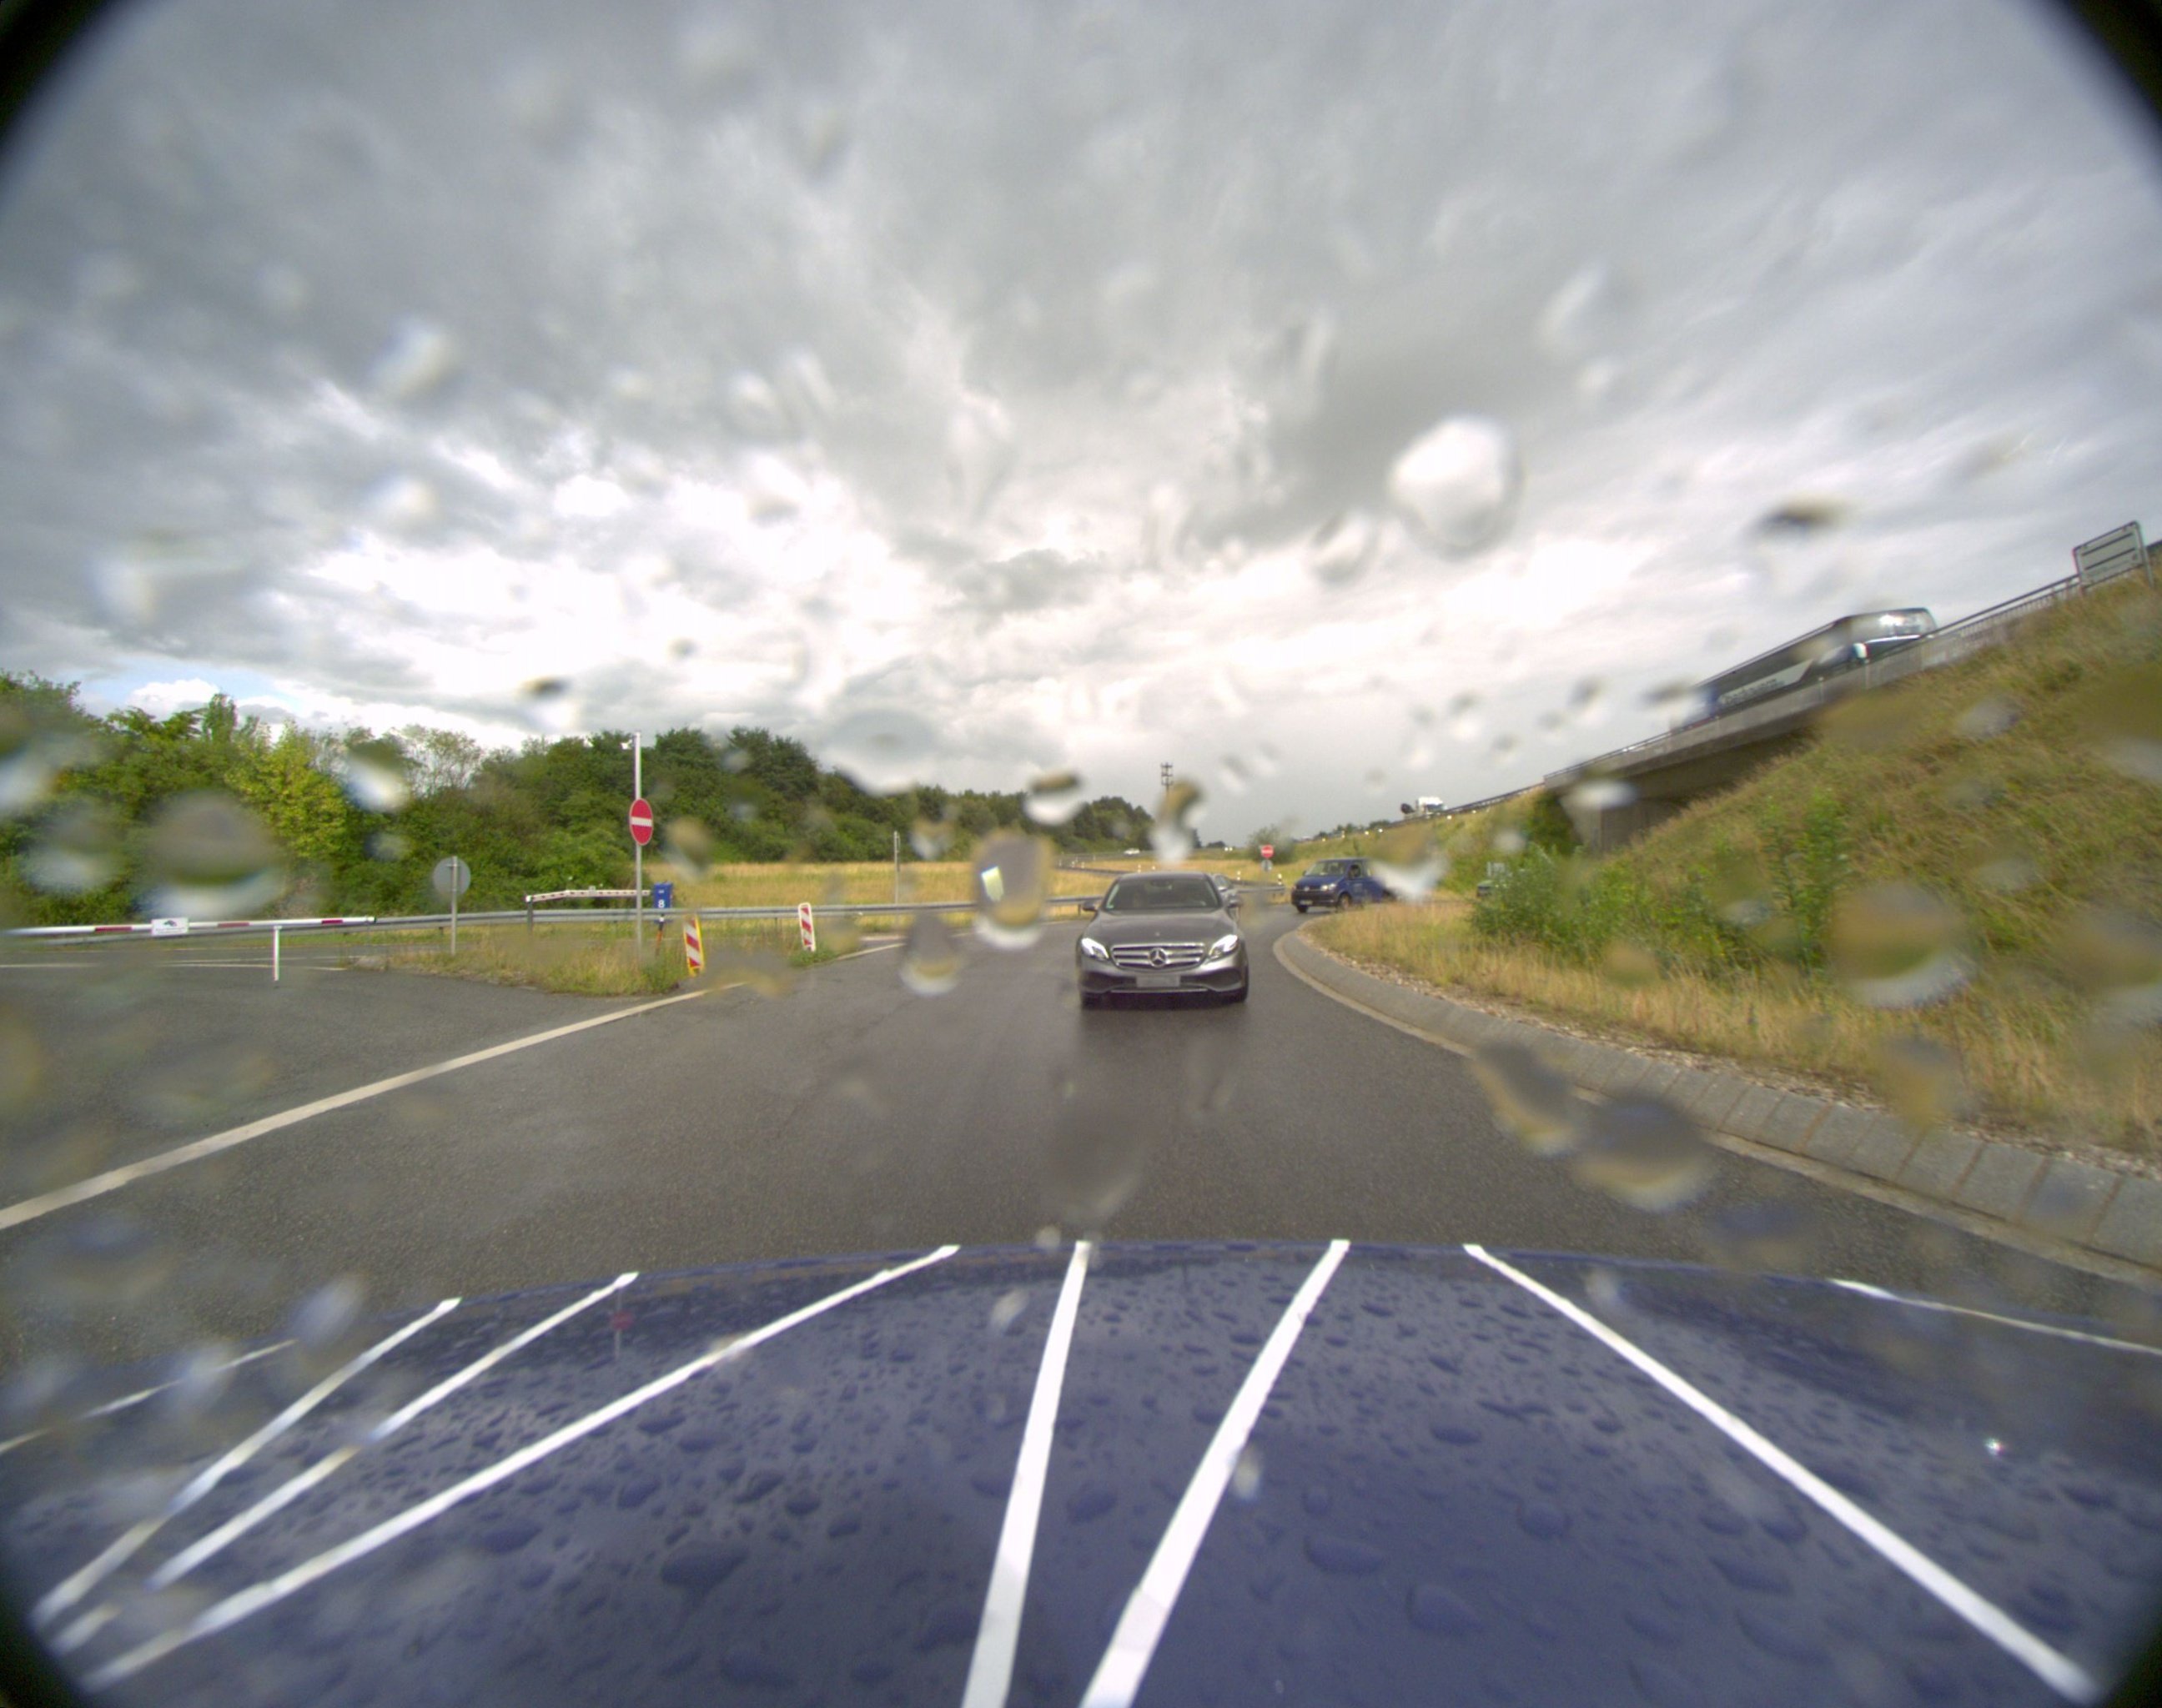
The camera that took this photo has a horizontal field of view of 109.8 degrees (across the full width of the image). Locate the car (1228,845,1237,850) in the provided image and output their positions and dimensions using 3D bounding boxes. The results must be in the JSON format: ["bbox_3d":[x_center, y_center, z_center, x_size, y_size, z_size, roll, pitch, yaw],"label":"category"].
[{"bbox_3d":[45.671,-1.959,228.684,1.763,1.633,3.900,-2,0,23],"label":"car"}]

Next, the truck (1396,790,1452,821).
[{"bbox_3d":[44.611,-6.246,99.301,3.159,3.175,9.280,-2,0,1],"label":"truck"}]

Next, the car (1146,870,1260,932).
[{"bbox_3d":[3.373,1.206,20.240,1.793,1.390,4.359,2,-1,25],"label":"car"}]

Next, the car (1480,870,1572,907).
[{"bbox_3d":[19.129,1.445,32.649,3.935,1.527,1.569,0,-1,-28],"label":"car"}]

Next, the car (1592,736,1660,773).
[{"bbox_3d":[35.308,-6.411,49.361,1.711,1.517,4.498,-12,-3,12],"label":"car"}]

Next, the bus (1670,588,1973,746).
[{"bbox_3d":[30.163,-7.220,32.457,2.608,3.061,14.481,-2,0,16],"label":"bus"}]

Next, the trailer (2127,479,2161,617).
[{"bbox_3d":[24.168,-6.975,13.406,2.183,2.854,8.343,-2,0,18],"label":"trailer"}]

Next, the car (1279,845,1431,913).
[{"bbox_3d":[9.951,0.840,27.373,5.690,1.904,1.890,-5,0,-31],"label":"car"}]

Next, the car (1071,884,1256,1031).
[{"bbox_3d":[0.906,1.099,9.685,1.770,1.382,4.593,-1,-2,3],"label":"car"}]
